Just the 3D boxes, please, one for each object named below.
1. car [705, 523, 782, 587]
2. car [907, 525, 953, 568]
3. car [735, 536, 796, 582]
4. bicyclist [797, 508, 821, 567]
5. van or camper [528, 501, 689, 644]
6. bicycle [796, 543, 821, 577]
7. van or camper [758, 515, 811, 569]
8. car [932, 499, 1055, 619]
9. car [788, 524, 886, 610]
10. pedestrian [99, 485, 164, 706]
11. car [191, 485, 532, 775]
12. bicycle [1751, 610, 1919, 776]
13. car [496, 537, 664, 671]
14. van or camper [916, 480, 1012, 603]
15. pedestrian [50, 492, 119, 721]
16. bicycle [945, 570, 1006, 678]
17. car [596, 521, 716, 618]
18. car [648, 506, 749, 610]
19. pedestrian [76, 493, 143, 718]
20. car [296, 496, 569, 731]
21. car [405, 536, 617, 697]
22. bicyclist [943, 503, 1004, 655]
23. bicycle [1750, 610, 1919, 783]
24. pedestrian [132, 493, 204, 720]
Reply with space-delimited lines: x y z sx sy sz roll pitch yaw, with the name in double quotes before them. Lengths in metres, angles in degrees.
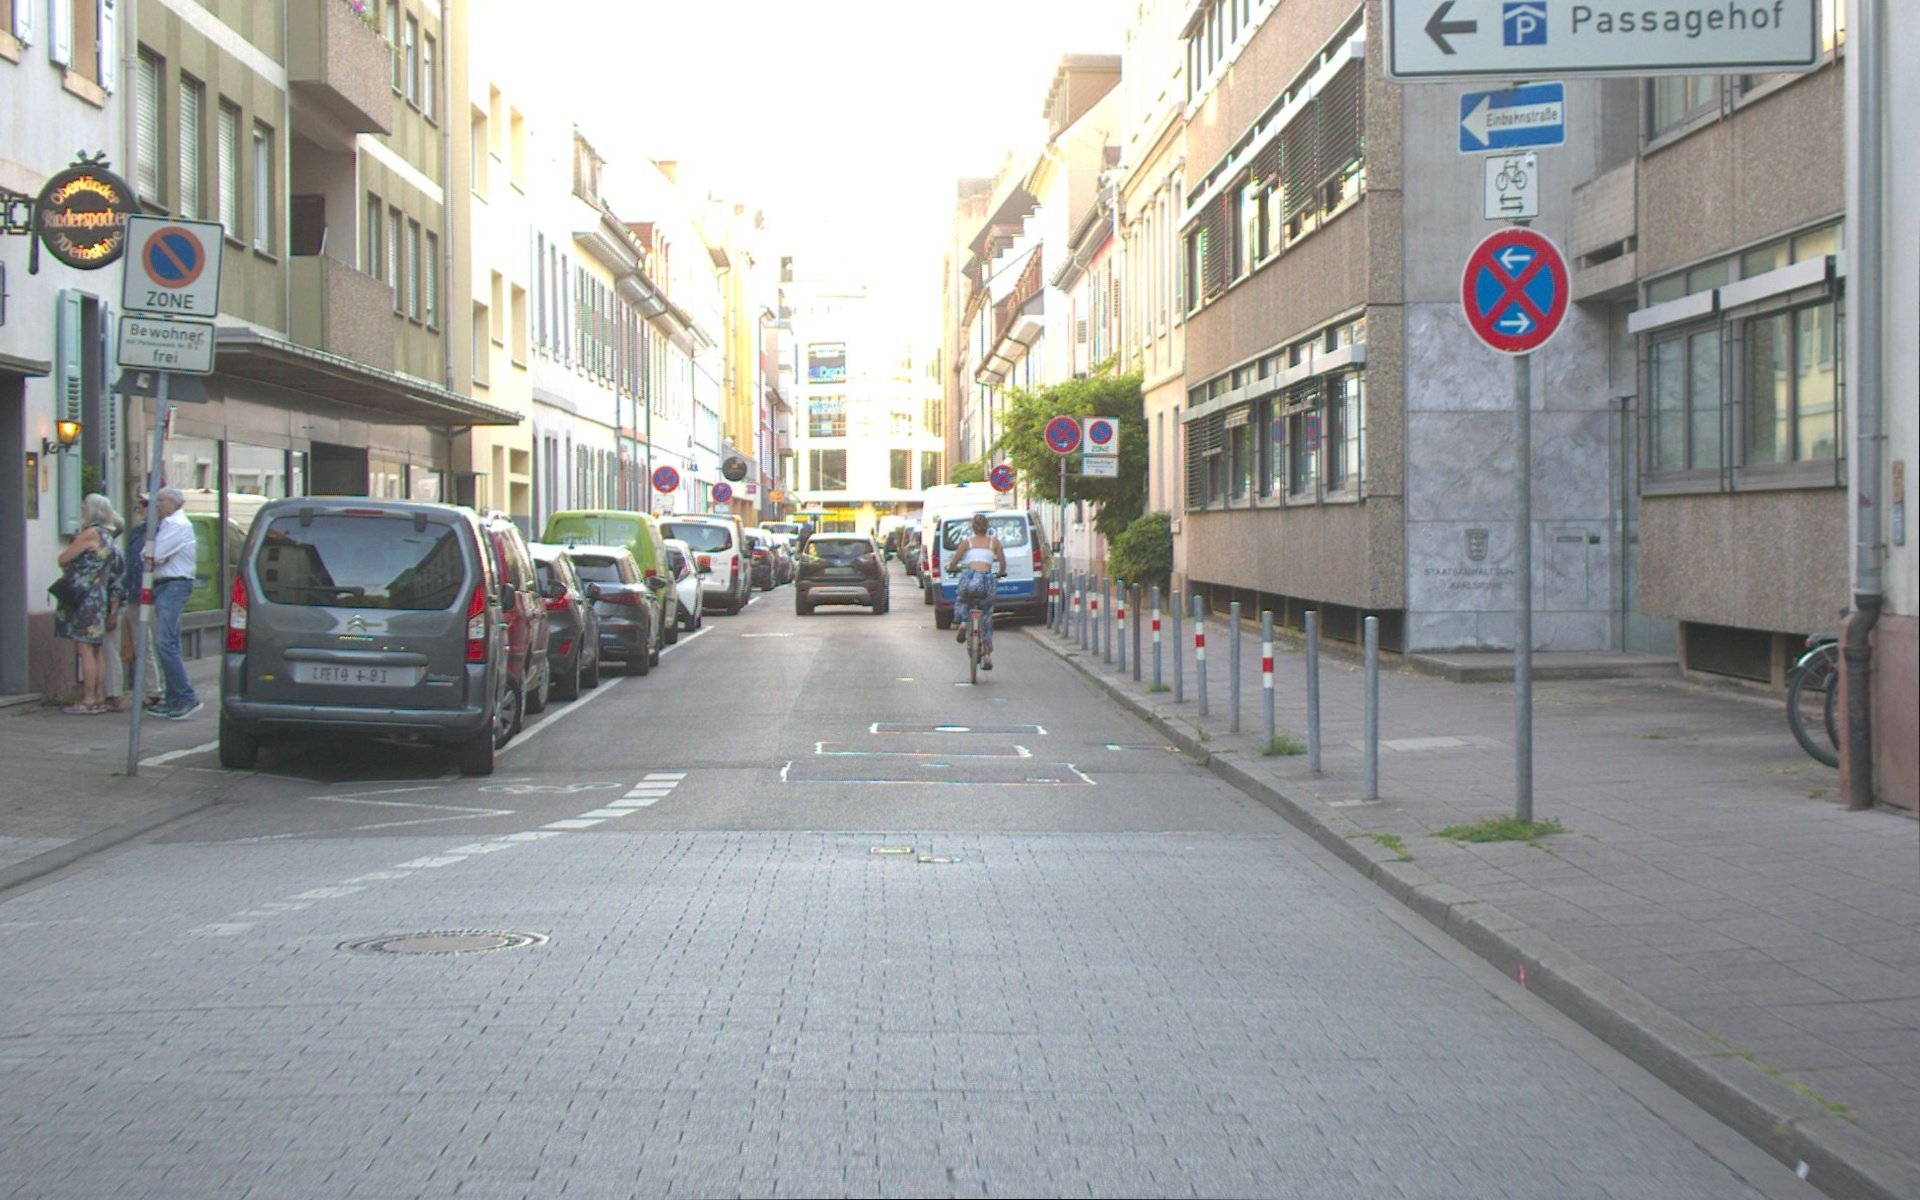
"car" -5.839 -1.229 93.094 1.803 1.671 4.490 0 1 0
"car" -1.114 -1.988 127.490 1.653 1.555 3.606 1 1 -1
"car" -6.258 -1.337 110.837 1.918 1.429 4.294 1 1 -3
"bicyclist" -4.174 -1.725 94.827 0.623 1.634 1.081 0 1 -1
"van or camper" -4.732 -0.401 46.741 1.772 1.842 4.178 0 1 0
"bicycle" -4.178 -1.111 94.923 0.634 0.919 1.779 0 1 -1
"van or camper" -6.757 -2.252 133.020 1.844 2.006 4.678 1 1 -1
"car" 0.513 -0.713 57.651 1.936 1.891 5.277 -1 1 -1
"car" -2.399 -0.667 67.482 1.819 1.612 4.000 1 1 -2
"pedestrian" -6.611 -0.040 27.442 0.406 1.744 0.470 0 1 0
"car" -4.034 0.151 23.815 1.876 1.805 4.451 1 1 -4
"bicycle" 5.456 0.527 19.652 1.739 0.920 0.538 0 1 -8
"car" -4.229 0.008 38.700 1.624 1.411 3.981 1 1 -3
"van or camper" 0.067 -1.339 77.638 2.050 2.628 7.063 0 1 0
"pedestrian" -6.715 0.044 26.379 0.406 1.744 0.470 0 1 0
"bicycle" 0.153 0.239 35.954 0.613 1.078 1.809 0 1 0
"car" -4.932 -0.516 56.070 1.662 1.444 3.521 3 1 -2
"car" -5.206 -0.861 68.961 1.862 2.007 5.107 0 1 -3
"pedestrian" -6.654 0.036 26.900 0.406 1.744 0.470 0 1 0
"car" -4.348 0.063 28.942 1.772 1.805 4.511 1 1 -2
"car" -4.347 0.123 33.729 1.624 1.479 3.878 -1 1 -1
"bicyclist" 0.141 -0.221 36.011 0.621 1.569 0.683 0 1 0
"bicycle" 5.292 0.521 18.834 1.795 0.920 0.538 0 1 -9
"pedestrian" -6.141 0.043 26.667 0.449 1.744 0.470 0 1 0
